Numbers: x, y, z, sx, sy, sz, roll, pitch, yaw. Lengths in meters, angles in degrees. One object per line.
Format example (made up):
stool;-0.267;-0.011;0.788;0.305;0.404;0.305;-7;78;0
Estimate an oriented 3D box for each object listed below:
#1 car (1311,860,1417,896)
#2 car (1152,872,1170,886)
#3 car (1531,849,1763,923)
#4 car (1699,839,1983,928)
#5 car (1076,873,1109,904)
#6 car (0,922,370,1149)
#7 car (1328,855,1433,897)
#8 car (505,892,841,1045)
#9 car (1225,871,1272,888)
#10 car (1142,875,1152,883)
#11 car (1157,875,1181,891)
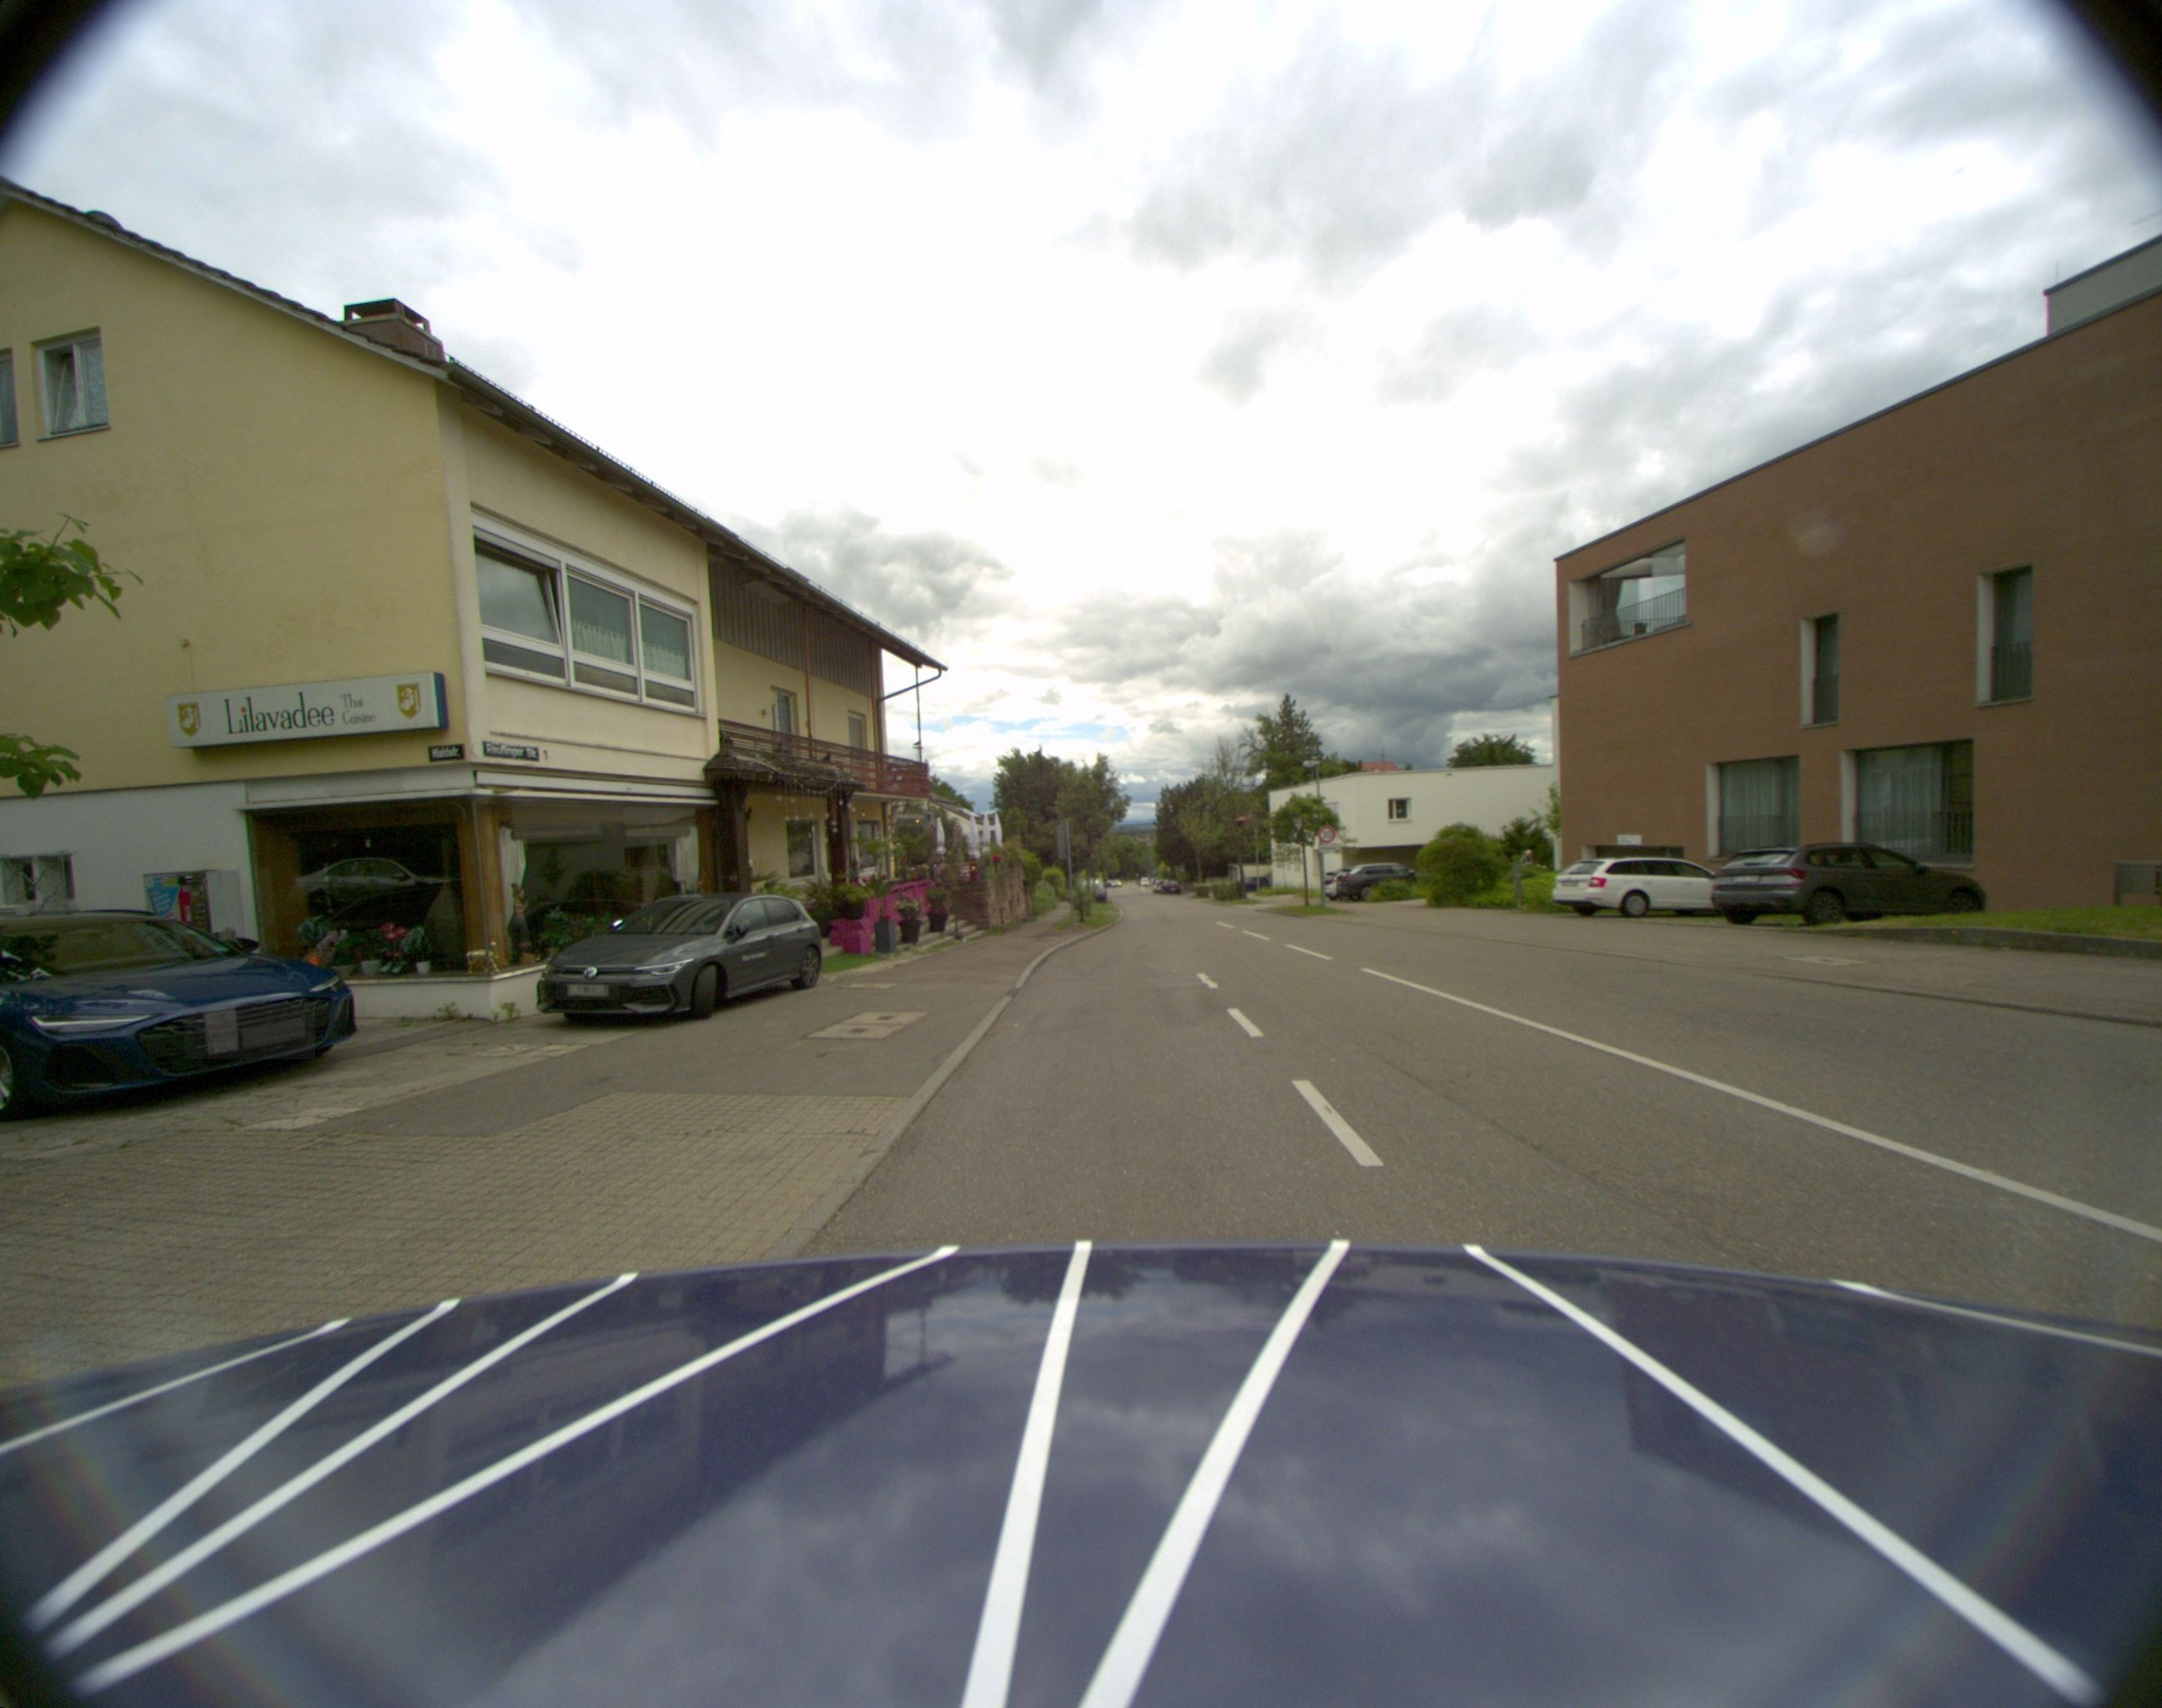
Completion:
car;13.990;1.202;37.732;4.398;1.557;2.067;-2;-2;-1
car;9.171;2.830;87.063;1.628;1.509;2.976;-3;-1;0
car;13.928;0.767;18.891;4.271;1.613;2.014;-2;0;-2
car;14.259;0.553;14.384;3.771;1.455;1.732;-2;-2;-5
car;0.778;2.208;49.195;1.941;1.826;5.221;-3;-2;1
car;-8.746;1.342;6.435;4.503;1.319;1.839;-2;0;15
car;13.696;1.018;34.937;3.996;1.643;2.009;-3;-2;2
car;-5.014;1.319;10.205;1.852;1.463;4.388;-1;-1;5
car;15.262;2.359;69.242;3.804;1.346;1.742;-3;-2;-1
car;11.760;4.528;135.390;1.693;1.410;3.582;0;-2;5
car;9.062;3.004;78.915;1.855;1.460;4.684;-2;-2;-1
